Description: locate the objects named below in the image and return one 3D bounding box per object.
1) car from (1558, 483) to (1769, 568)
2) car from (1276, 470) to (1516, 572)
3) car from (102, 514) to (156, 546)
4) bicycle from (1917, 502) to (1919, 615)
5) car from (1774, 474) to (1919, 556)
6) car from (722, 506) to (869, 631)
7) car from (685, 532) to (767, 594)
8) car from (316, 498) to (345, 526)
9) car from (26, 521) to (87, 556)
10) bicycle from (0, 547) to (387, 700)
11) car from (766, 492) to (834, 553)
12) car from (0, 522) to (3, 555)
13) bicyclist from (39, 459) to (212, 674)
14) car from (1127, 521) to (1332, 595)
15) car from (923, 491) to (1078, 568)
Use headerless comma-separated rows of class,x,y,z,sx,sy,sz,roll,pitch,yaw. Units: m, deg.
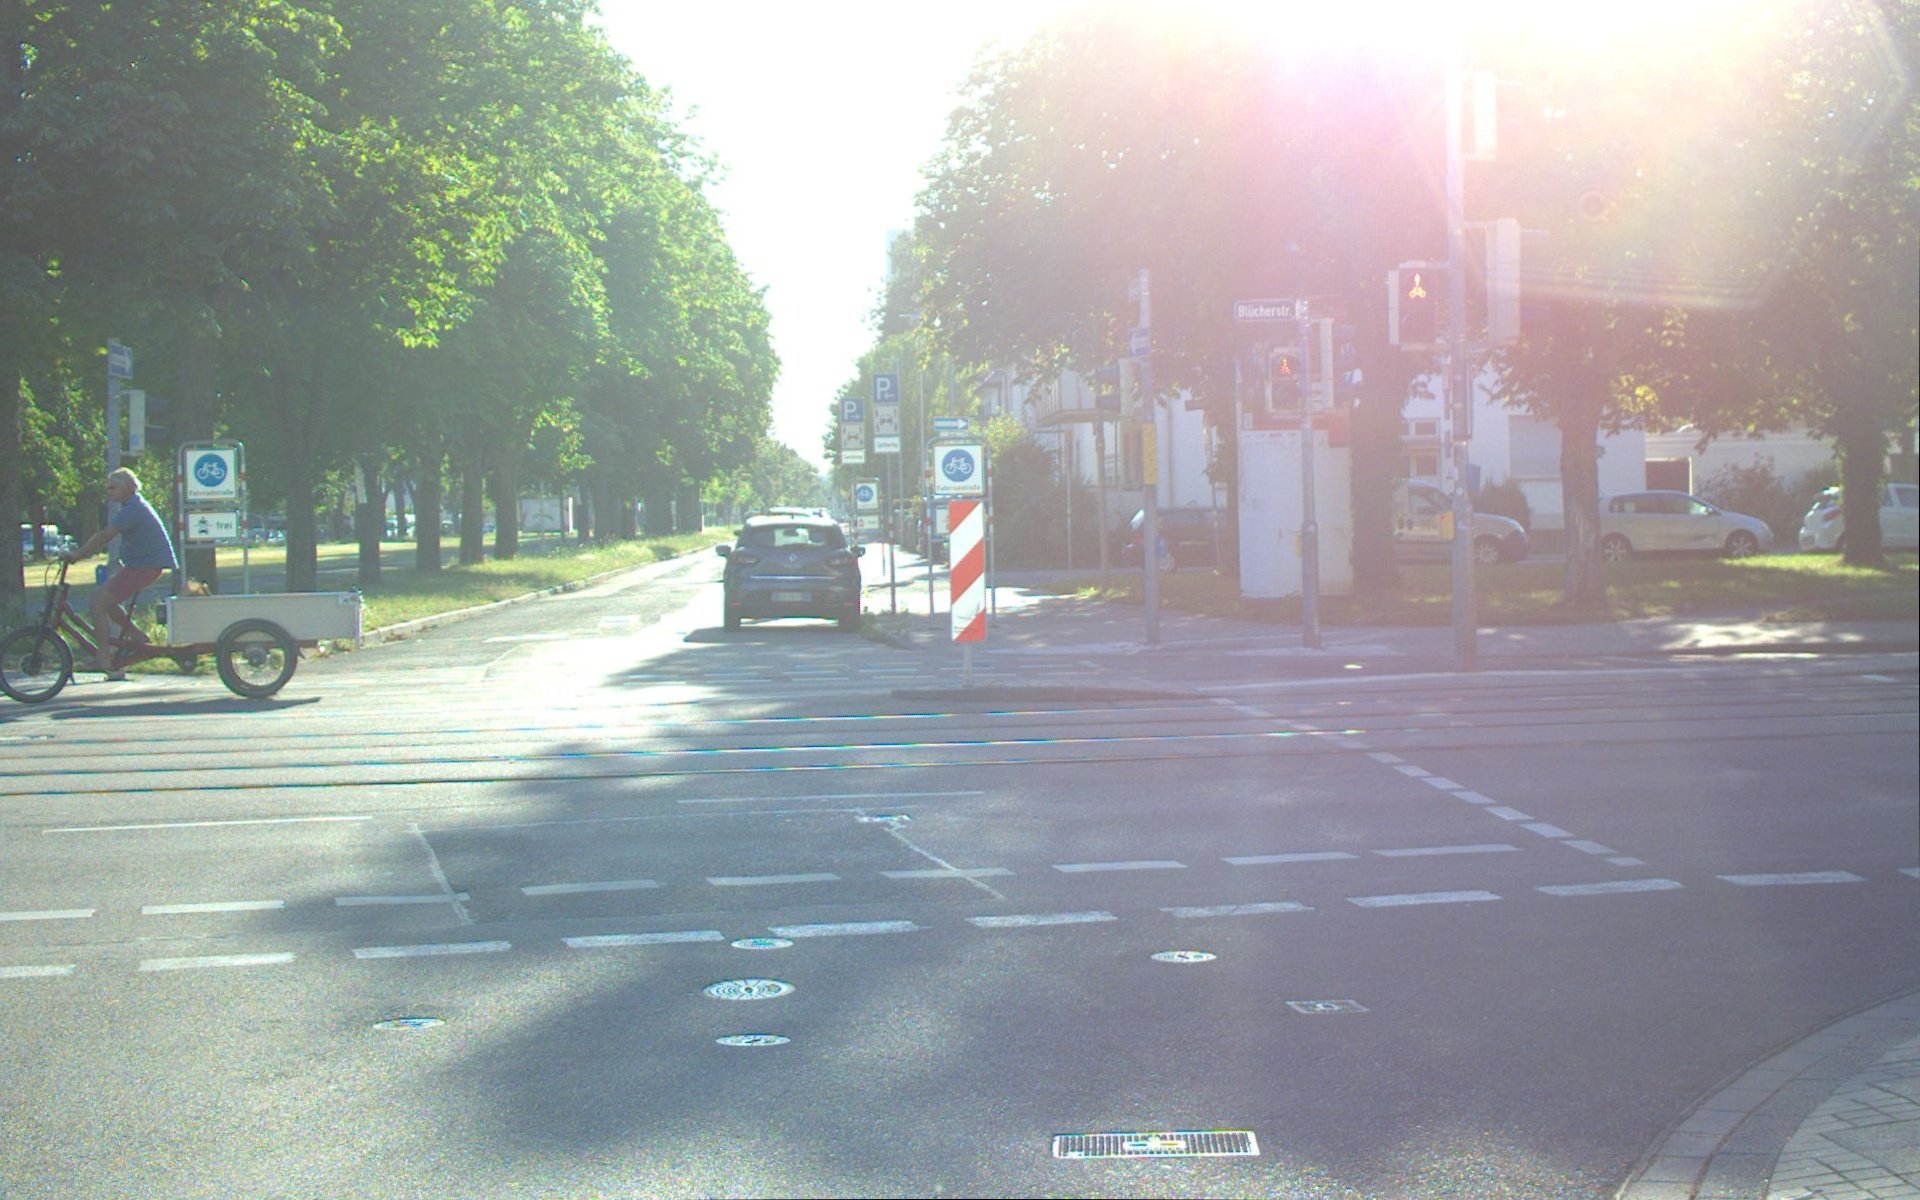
car,13.349,-1.412,65.315,3.552,1.510,1.606,-1,1,-8
car,8.276,-1.490,65.536,4.241,1.868,2.031,-1,1,-2
car,-45.164,-3.818,186.909,1.993,1.653,4.571,-1,1,-3
bicycle,9.980,-0.397,32.894,1.522,1.085,0.467,-1,6,8
car,17.781,-1.625,65.941,3.920,1.518,1.524,0,0,-7
car,-2.083,-0.410,44.548,1.725,1.506,4.541,1,1,-1
car,-5.303,-0.843,78.188,1.709,1.355,4.203,1,1,-2
car,-46.483,-6.480,253.948,1.654,1.932,3.568,1,-1,-3
car,-44.008,-2.988,167.544,2.022,1.653,3.984,1,1,-2
bicycle,-6.385,0.187,28.485,3.073,1.157,0.875,-2,1,3
car,-4.841,-2.357,103.723,1.993,1.775,4.001,1,2,-3
car,-49.640,-3.109,172.691,1.993,1.653,4.355,1,1,-1
bicyclist,-6.912,-0.276,28.518,1.145,1.717,0.875,-2,1,3
car,5.511,-0.865,70.630,3.986,1.442,1.716,-1,1,-2
car,1.087,-1.904,93.511,3.986,1.816,1.760,-2,-4,-6
